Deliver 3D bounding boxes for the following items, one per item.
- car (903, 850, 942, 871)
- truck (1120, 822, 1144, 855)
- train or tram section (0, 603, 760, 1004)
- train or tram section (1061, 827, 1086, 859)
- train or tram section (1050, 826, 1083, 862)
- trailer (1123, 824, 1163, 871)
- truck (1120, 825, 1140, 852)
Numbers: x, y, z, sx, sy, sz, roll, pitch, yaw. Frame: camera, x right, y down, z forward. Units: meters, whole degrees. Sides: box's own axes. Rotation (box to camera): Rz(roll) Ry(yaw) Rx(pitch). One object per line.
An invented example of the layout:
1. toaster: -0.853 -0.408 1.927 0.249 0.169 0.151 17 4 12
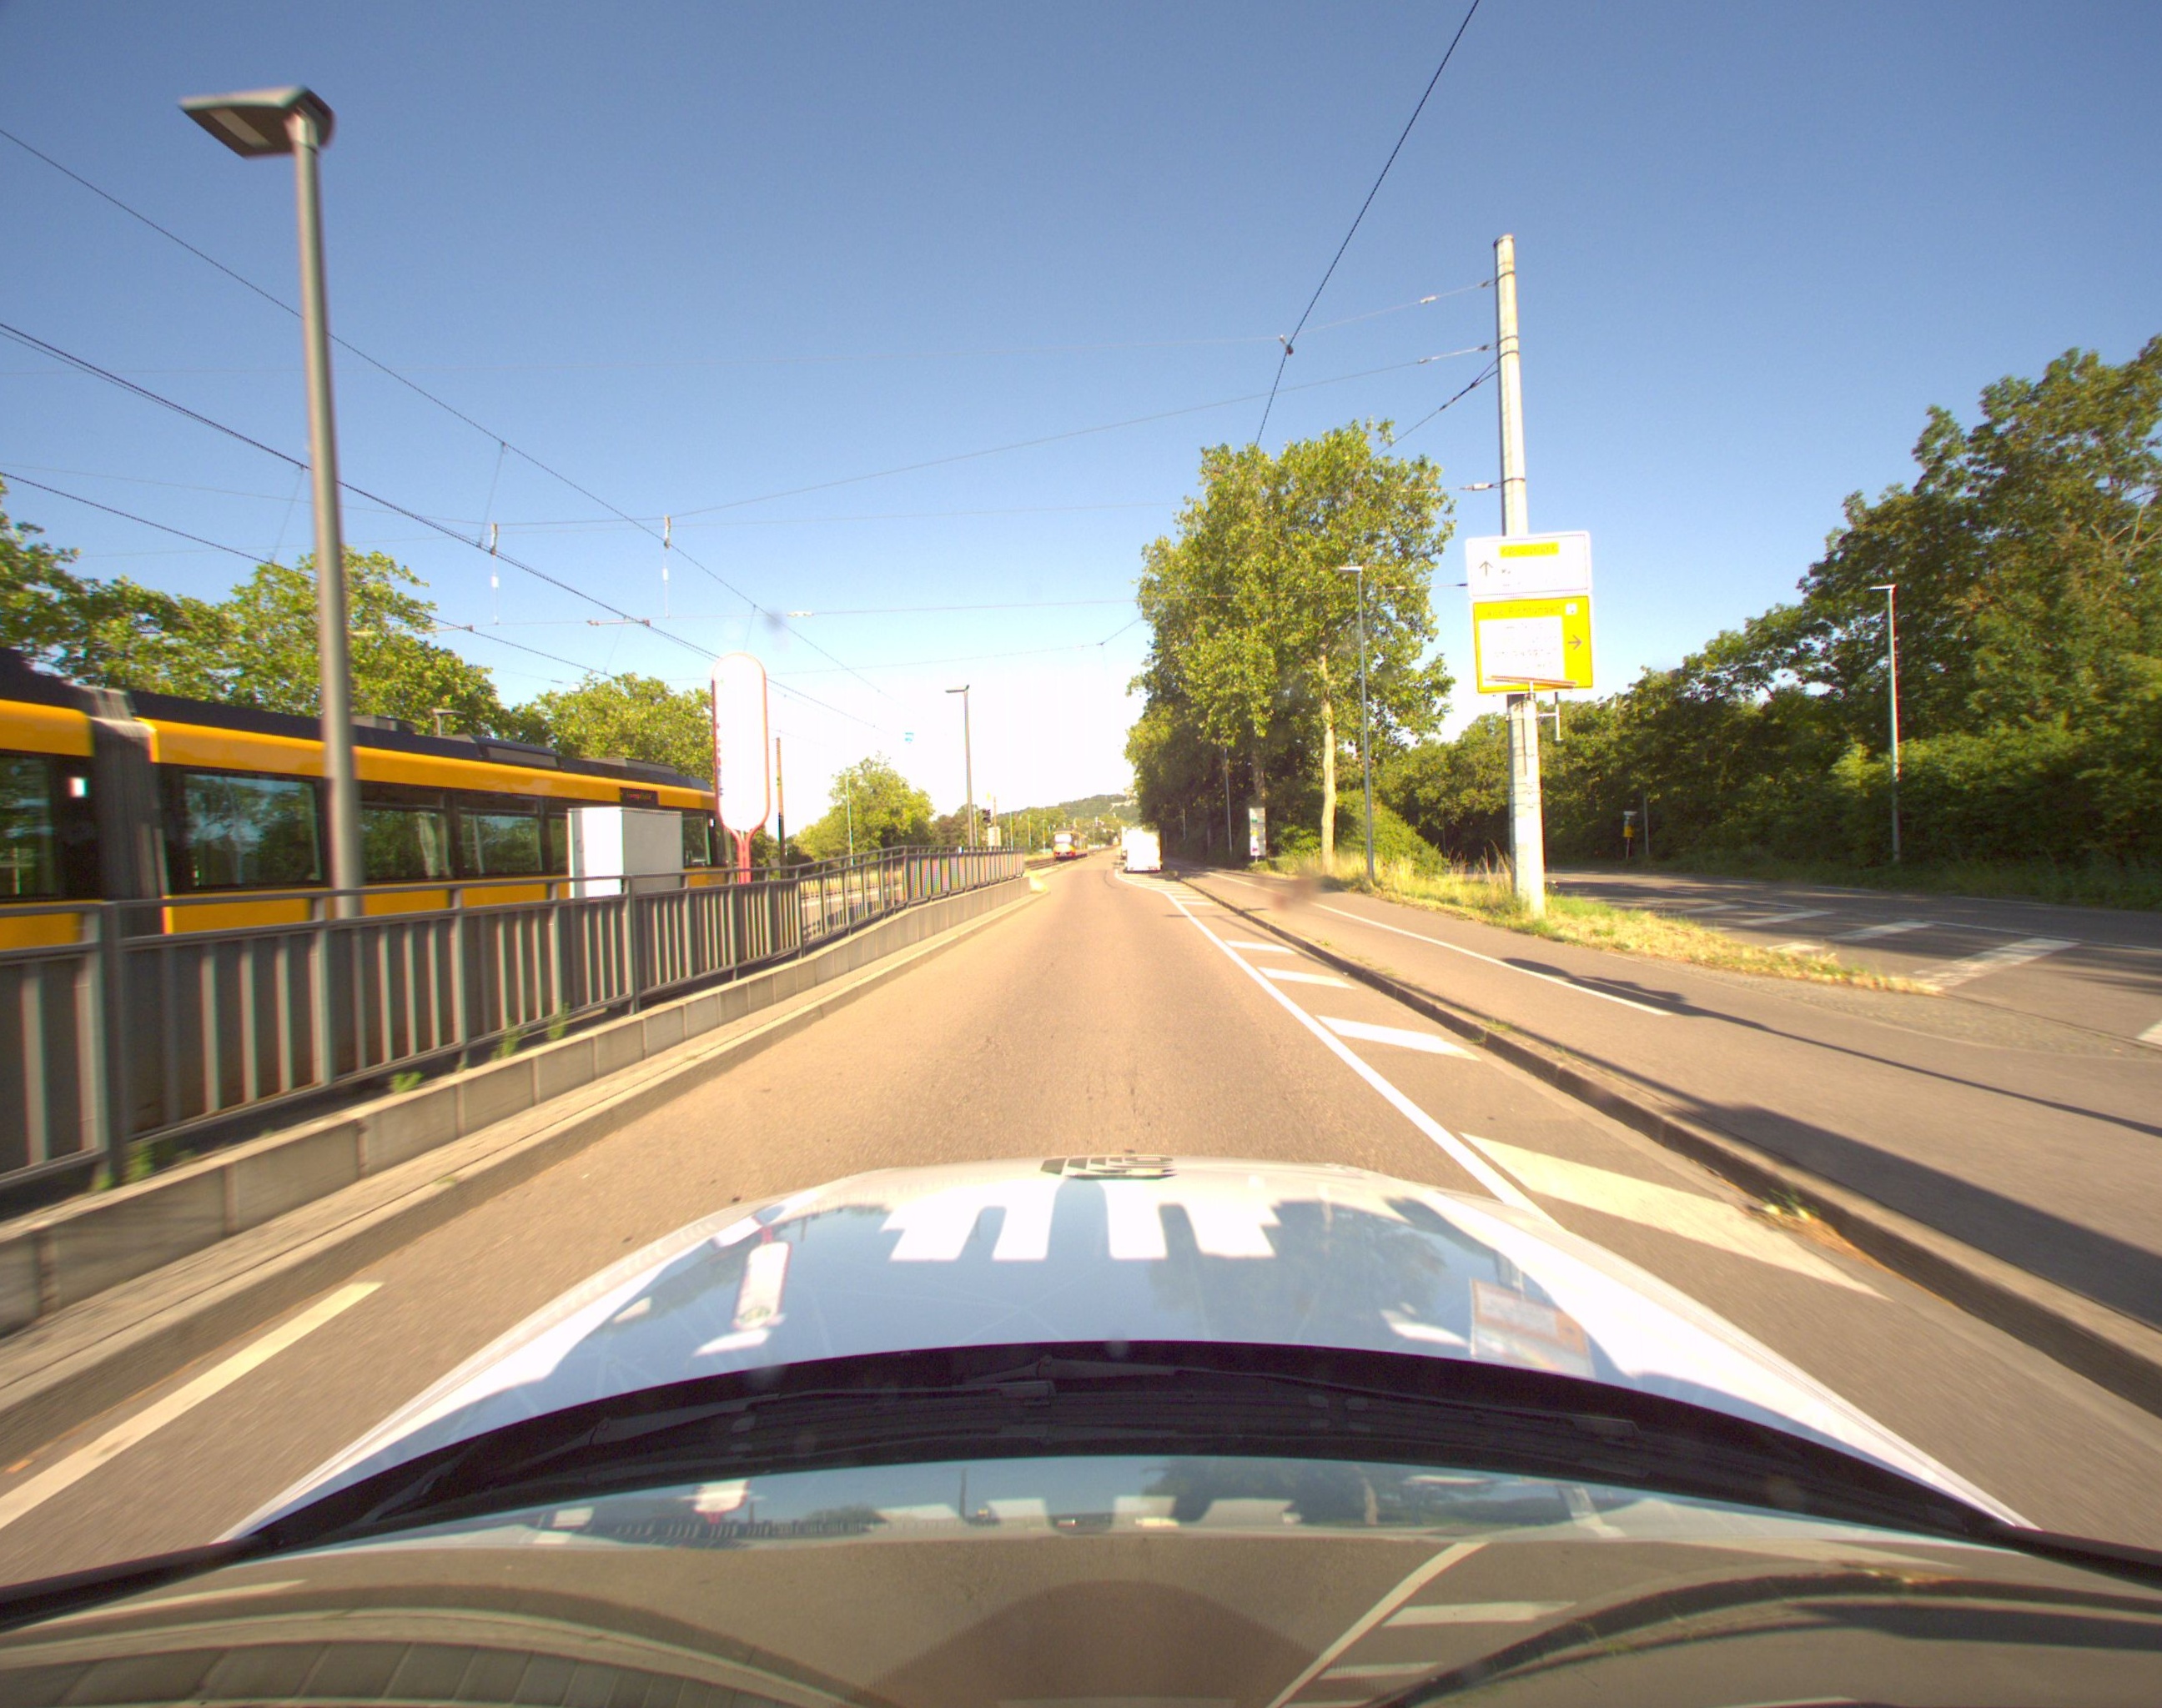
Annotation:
1. car: -12.816 0.483 66.286 1.985 1.561 4.548 -1 0 3
2. truck: 6.148 -1.831 98.878 2.731 3.783 10.097 0 1 3
3. train or tram section: -9.960 -0.502 14.053 2.815 3.686 12.983 -1 0 4
4. train or tram section: -0.944 -1.495 111.759 2.683 4.088 9.919 -3 1 3
5. train or tram section: -1.652 -1.243 100.037 2.710 4.090 13.628 -3 1 3
6. trailer: 3.933 -0.401 50.940 2.240 2.694 5.957 -2 1 6
7. truck: 7.051 -2.255 118.128 2.706 3.783 9.768 0 1 3
